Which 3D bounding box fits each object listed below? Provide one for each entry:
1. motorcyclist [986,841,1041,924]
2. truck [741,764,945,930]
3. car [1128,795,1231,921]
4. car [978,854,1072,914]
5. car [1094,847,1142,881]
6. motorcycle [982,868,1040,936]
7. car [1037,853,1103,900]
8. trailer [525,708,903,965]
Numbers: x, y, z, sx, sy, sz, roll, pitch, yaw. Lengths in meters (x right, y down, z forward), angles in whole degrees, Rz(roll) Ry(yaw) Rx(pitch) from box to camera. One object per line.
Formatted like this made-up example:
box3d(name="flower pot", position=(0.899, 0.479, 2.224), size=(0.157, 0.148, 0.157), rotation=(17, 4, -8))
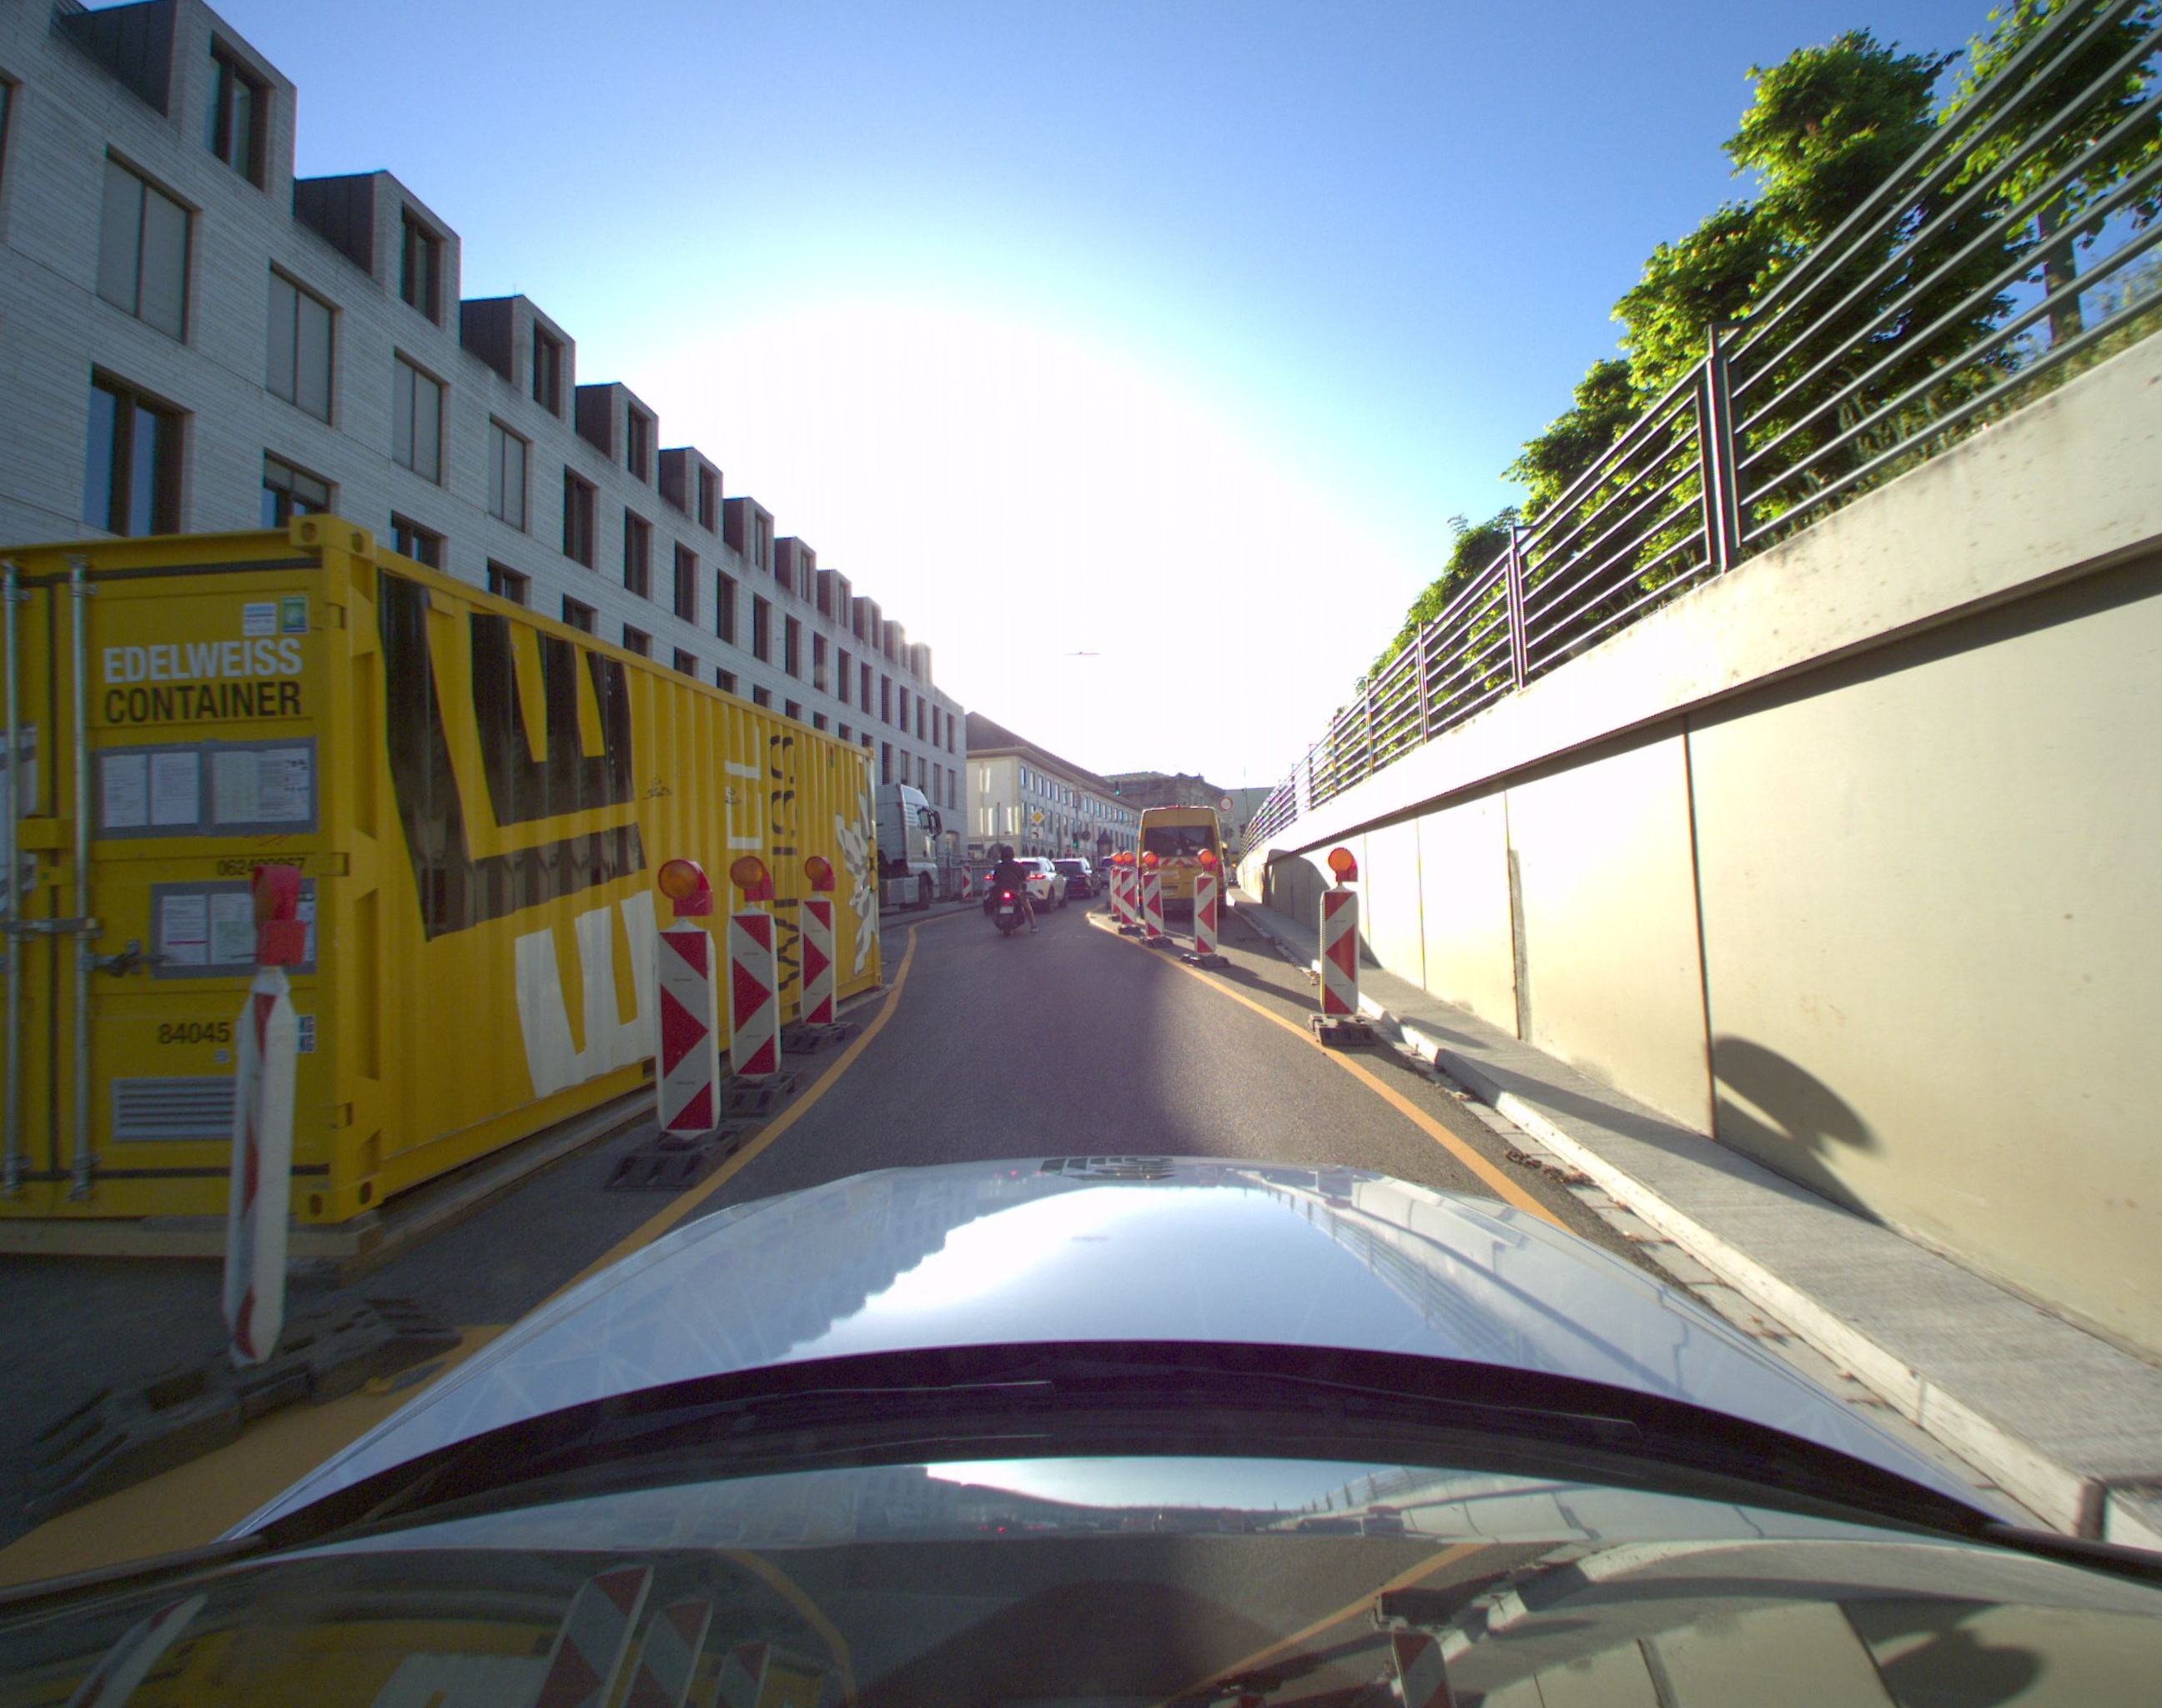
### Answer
box3d(name="motorcyclist", position=(-1.318, 0.546, 16.113), size=(0.951, 1.559, 1.239), rotation=(-1, 0, 0))
box3d(name="truck", position=(-5.865, -0.141, 21.216), size=(2.564, 3.489, 5.830), rotation=(-6, -1, 9))
box3d(name="car", position=(2.606, 0.112, 20.827), size=(2.100, 2.625, 7.003), rotation=(-2, -1, 8))
box3d(name="car", position=(-1.464, 0.775, 22.821), size=(1.849, 1.472, 4.008), rotation=(-1, 0, 7))
box3d(name="car", position=(2.033, 0.503, 43.555), size=(1.790, 1.721, 4.178), rotation=(-2, 0, 13))
box3d(name="motorcycle", position=(-1.337, 0.900, 16.174), size=(0.903, 1.183, 2.578), rotation=(-1, 0, 0))
box3d(name="car", position=(-0.338, 0.839, 29.877), size=(1.764, 1.550, 4.114), rotation=(-2, -2, 8))
box3d(name="trailer", position=(-6.600, -0.232, 16.787), size=(2.628, 3.669, 8.765), rotation=(-6, -1, 7))
